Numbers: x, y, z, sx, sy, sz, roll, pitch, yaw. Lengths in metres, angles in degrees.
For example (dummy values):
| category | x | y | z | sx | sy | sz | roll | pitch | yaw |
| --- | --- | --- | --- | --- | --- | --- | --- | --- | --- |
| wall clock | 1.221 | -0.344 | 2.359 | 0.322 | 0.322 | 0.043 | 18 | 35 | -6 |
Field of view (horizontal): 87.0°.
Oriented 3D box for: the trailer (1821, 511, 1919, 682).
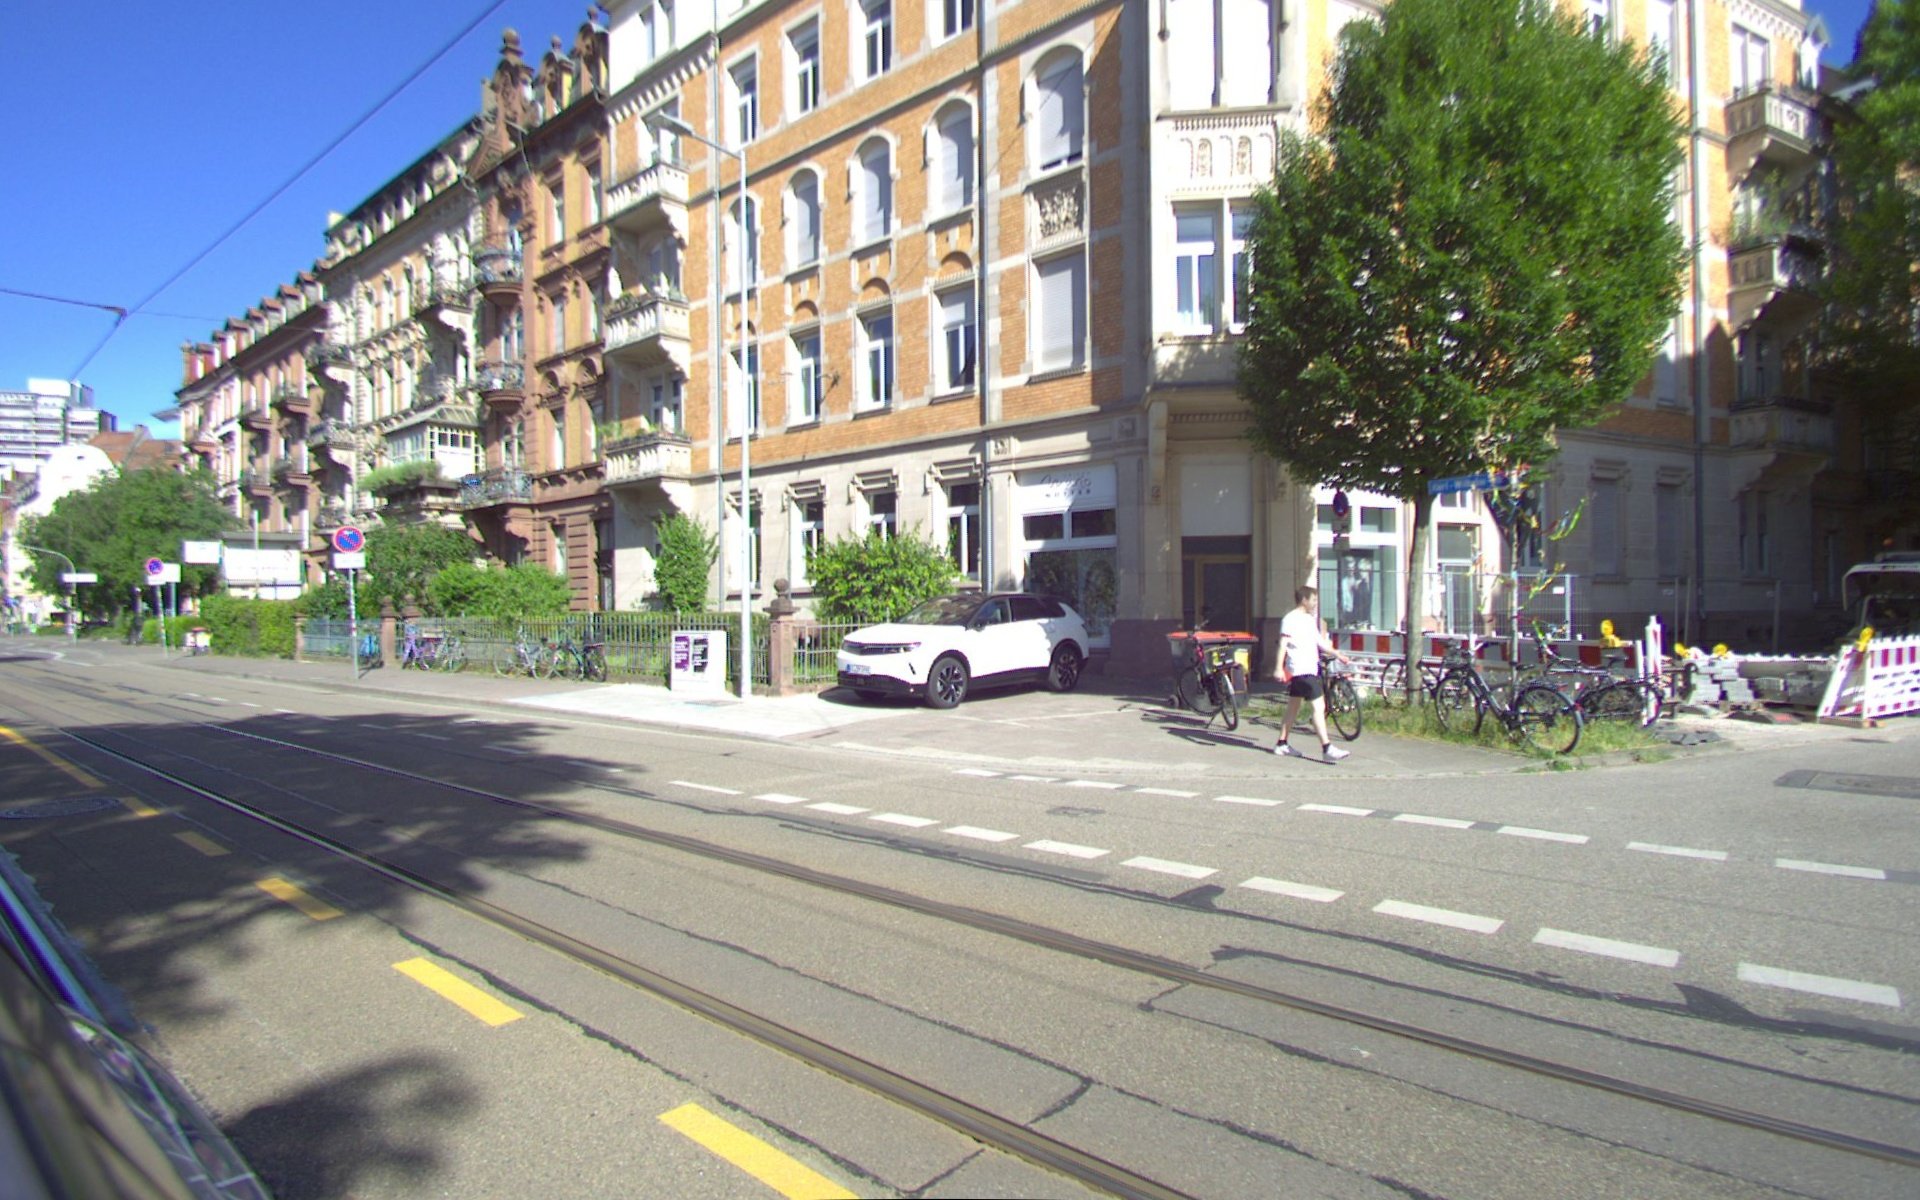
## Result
| category | x | y | z | sx | sy | sz | roll | pitch | yaw |
| --- | --- | --- | --- | --- | --- | --- | --- | --- | --- |
| trailer | 16.319 | -0.037 | 16.989 | 2.878 | 2.715 | 1.834 | 1 | -1 | -26 |

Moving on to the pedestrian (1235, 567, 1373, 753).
| category | x | y | z | sx | sy | sz | roll | pitch | yaw |
| --- | --- | --- | --- | --- | --- | --- | --- | --- | --- |
| pedestrian | 3.458 | 0.555 | 10.177 | 1.081 | 1.736 | 0.821 | 0 | 2 | 39 |

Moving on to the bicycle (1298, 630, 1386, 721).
| category | x | y | z | sx | sy | sz | roll | pitch | yaw |
| --- | --- | --- | --- | --- | --- | --- | --- | --- | --- |
| bicycle | 4.347 | 0.835 | 11.597 | 0.613 | 0.921 | 1.293 | 0 | 1 | 5 |

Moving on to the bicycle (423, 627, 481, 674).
| category | x | y | z | sx | sy | sz | roll | pitch | yaw |
| --- | --- | --- | --- | --- | --- | --- | --- | --- | --- |
| bicycle | -12.011 | 1.170 | 23.912 | 1.766 | 1.041 | 0.557 | -2 | 1 | 40 |

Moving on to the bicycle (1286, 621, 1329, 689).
| category | x | y | z | sx | sy | sz | roll | pitch | yaw |
| --- | --- | --- | --- | --- | --- | --- | --- | --- | --- |
| bicycle | 5.222 | 0.804 | 15.241 | 0.244 | 0.921 | 1.540 | 0 | 1 | 5 |

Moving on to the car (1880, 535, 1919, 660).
| category | x | y | z | sx | sy | sz | roll | pitch | yaw |
| --- | --- | --- | --- | --- | --- | --- | --- | --- | --- |
| car | 21.678 | -0.117 | 21.083 | 4.556 | 2.521 | 2.007 | -2 | 3 | -24 |

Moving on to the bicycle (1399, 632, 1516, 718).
| category | x | y | z | sx | sy | sz | roll | pitch | yaw |
| --- | --- | --- | --- | --- | --- | --- | --- | --- | --- |
| bicycle | 6.024 | 0.885 | 12.323 | 0.611 | 0.921 | 1.298 | 0 | 1 | -11 |

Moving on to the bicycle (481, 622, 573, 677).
| category | x | y | z | sx | sy | sz | roll | pitch | yaw |
| --- | --- | --- | --- | --- | --- | --- | --- | --- | --- |
| bicycle | -9.106 | 1.042 | 21.292 | 1.752 | 1.041 | 0.562 | -3 | 3 | 17 |

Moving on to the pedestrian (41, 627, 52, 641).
| category | x | y | z | sx | sy | sz | roll | pitch | yaw |
| --- | --- | --- | --- | --- | --- | --- | --- | --- | --- |
| pedestrian | -83.373 | 3.083 | 92.397 | 0.724 | 1.291 | 0.650 | -1 | 1 | 41 |

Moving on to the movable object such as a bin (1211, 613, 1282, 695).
| category | x | y | z | sx | sy | sz | roll | pitch | yaw |
| --- | --- | --- | --- | --- | --- | --- | --- | --- | --- |
| movable object such as a bin | 3.993 | 0.733 | 14.117 | 0.568 | 1.079 | 0.718 | -2 | 1 | -36 |

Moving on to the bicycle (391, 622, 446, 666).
| category | x | y | z | sx | sy | sz | roll | pitch | yaw |
| --- | --- | --- | --- | --- | --- | --- | --- | --- | --- |
| bicycle | -13.456 | 1.077 | 25.125 | 1.766 | 1.041 | 0.557 | -2 | 1 | 40 |

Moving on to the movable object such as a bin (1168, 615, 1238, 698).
| category | x | y | z | sx | sy | sz | roll | pitch | yaw |
| --- | --- | --- | --- | --- | --- | --- | --- | --- | --- |
| movable object such as a bin | 3.334 | 0.758 | 13.912 | 0.568 | 1.079 | 0.718 | -2 | 1 | -36 |

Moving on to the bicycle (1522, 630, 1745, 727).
| category | x | y | z | sx | sy | sz | roll | pitch | yaw |
| --- | --- | --- | --- | --- | --- | --- | --- | --- | --- |
| bicycle | 7.323 | 0.851 | 11.064 | 1.963 | 0.983 | 0.579 | -1 | 1 | 6 |

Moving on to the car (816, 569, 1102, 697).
| category | x | y | z | sx | sy | sz | roll | pitch | yaw |
| --- | --- | --- | --- | --- | --- | --- | --- | --- | --- |
| car | 0.123 | 0.400 | 15.809 | 1.967 | 1.656 | 4.397 | -1 | 1 | 43 |

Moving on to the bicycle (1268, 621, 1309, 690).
| category | x | y | z | sx | sy | sz | roll | pitch | yaw |
| --- | --- | --- | --- | --- | --- | --- | --- | --- | --- |
| bicycle | 4.948 | 0.812 | 15.283 | 0.244 | 0.921 | 1.540 | 0 | 1 | 5 |

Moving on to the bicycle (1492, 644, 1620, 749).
| category | x | y | z | sx | sy | sz | roll | pitch | yaw |
| --- | --- | --- | --- | --- | --- | --- | --- | --- | --- |
| bicycle | 6.000 | 0.944 | 10.266 | 0.613 | 0.921 | 1.293 | 0 | 1 | 5 |

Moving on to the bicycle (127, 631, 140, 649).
| category | x | y | z | sx | sy | sz | roll | pitch | yaw |
| --- | --- | --- | --- | --- | --- | --- | --- | --- | --- |
| bicycle | -43.179 | 2.082 | 52.886 | 0.338 | 0.933 | 1.944 | -3 | 1 | -44 |

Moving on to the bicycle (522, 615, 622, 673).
| category | x | y | z | sx | sy | sz | roll | pitch | yaw |
| --- | --- | --- | --- | --- | --- | --- | --- | --- | --- |
| bicycle | -7.707 | 0.868 | 20.123 | 1.745 | 1.041 | 0.564 | -3 | 0 | 5 |

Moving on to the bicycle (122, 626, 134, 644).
| category | x | y | z | sx | sy | sz | roll | pitch | yaw |
| --- | --- | --- | --- | --- | --- | --- | --- | --- | --- |
| bicycle | -46.036 | 1.937 | 55.990 | 0.338 | 0.933 | 1.944 | -3 | 1 | -44 |

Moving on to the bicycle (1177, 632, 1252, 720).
| category | x | y | z | sx | sy | sz | roll | pitch | yaw |
| --- | --- | --- | --- | --- | --- | --- | --- | --- | --- |
| bicycle | 3.122 | 0.901 | 12.554 | 0.613 | 0.921 | 1.786 | 0 | 1 | 5 |

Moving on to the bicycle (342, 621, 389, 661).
| category | x | y | z | sx | sy | sz | roll | pitch | yaw |
| --- | --- | --- | --- | --- | --- | --- | --- | --- | --- |
| bicycle | -16.258 | 1.126 | 27.674 | 1.767 | 1.041 | 0.557 | -3 | 0 | 42 |

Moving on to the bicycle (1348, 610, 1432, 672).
| category | x | y | z | sx | sy | sz | roll | pitch | yaw |
| --- | --- | --- | --- | --- | --- | --- | --- | --- | --- |
| bicycle | 7.890 | 0.742 | 18.548 | 1.576 | 1.045 | 0.407 | -2 | -1 | -24 |
